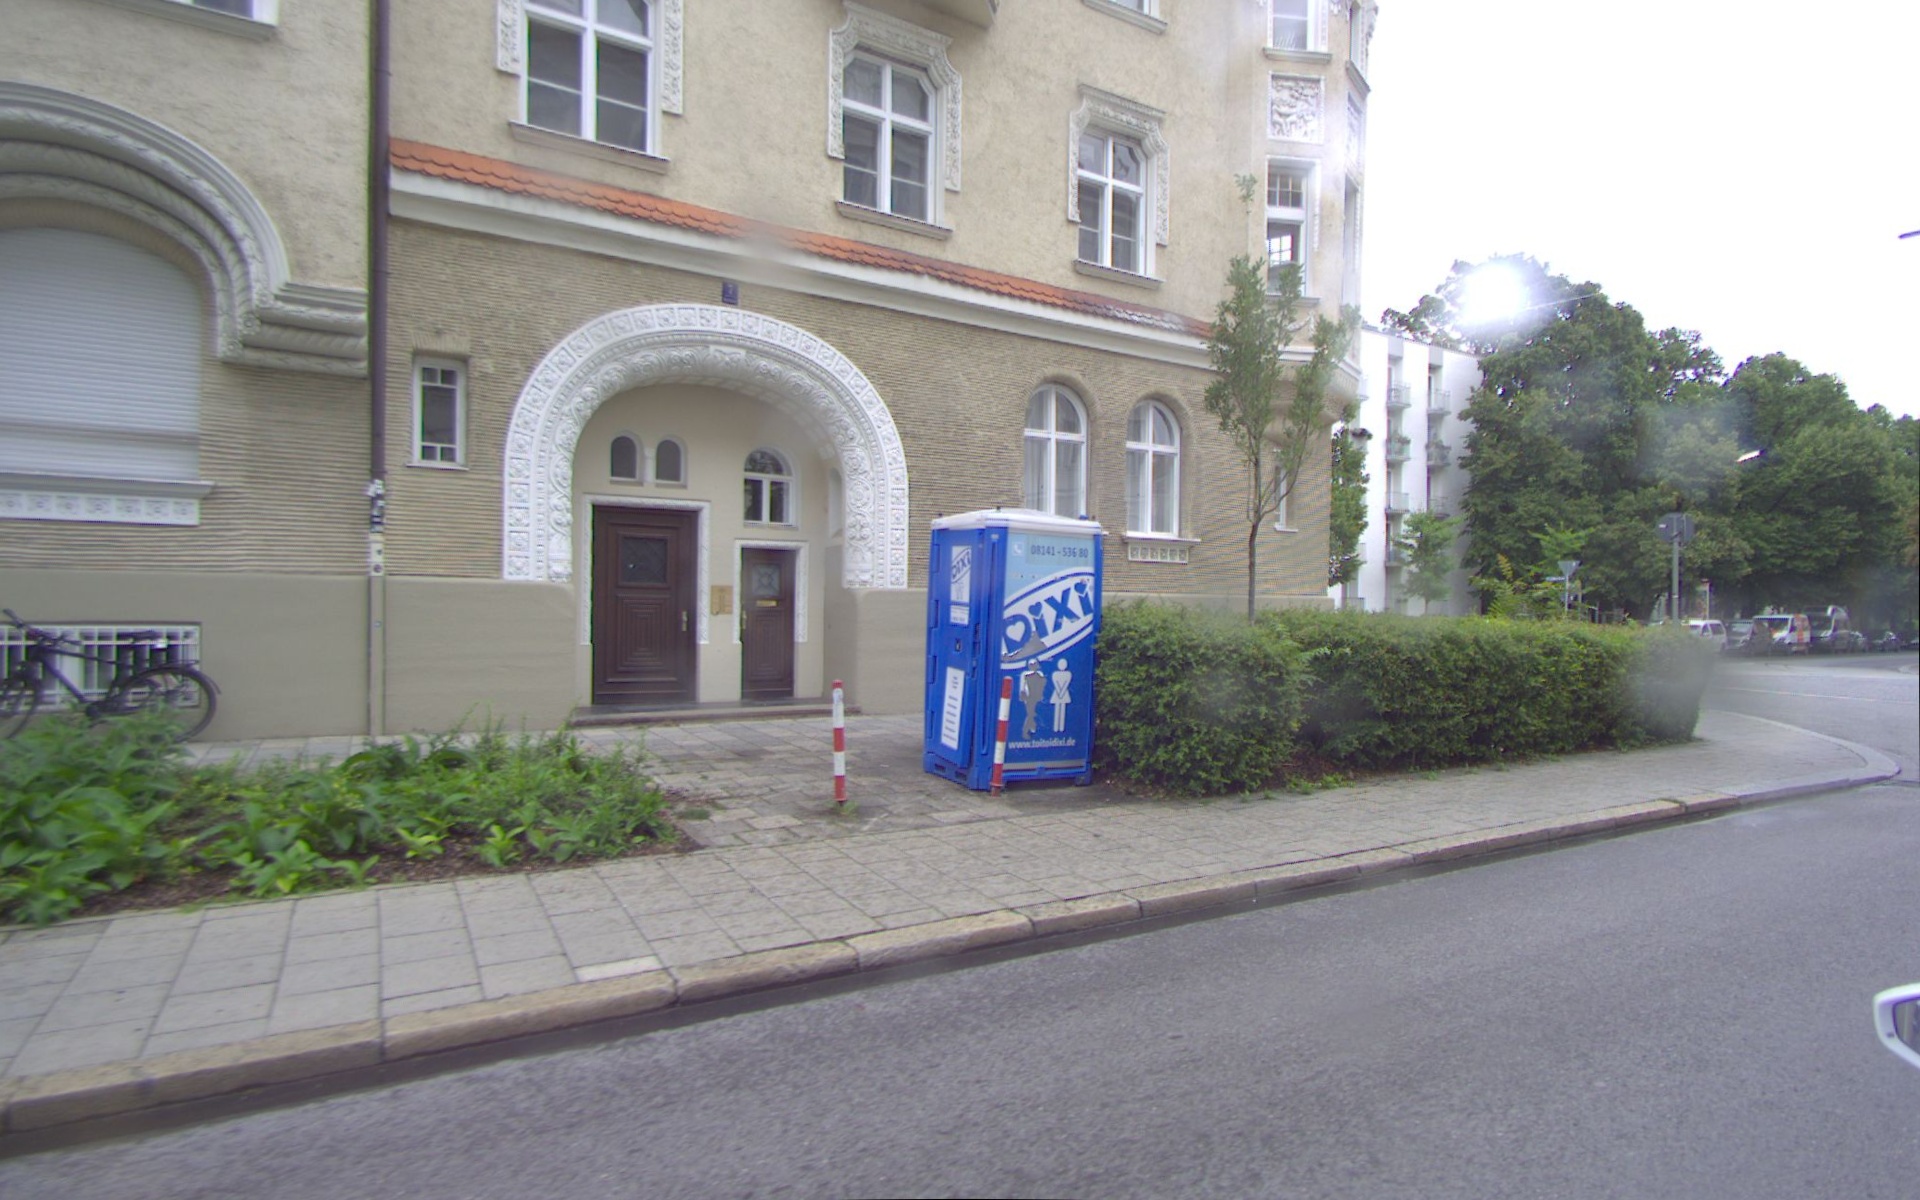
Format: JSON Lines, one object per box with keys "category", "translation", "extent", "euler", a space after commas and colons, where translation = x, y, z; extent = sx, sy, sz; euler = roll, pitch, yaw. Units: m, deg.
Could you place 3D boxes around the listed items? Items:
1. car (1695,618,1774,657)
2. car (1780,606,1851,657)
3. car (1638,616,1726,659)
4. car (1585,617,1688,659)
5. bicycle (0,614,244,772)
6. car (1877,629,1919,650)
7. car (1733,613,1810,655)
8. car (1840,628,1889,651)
{"category": "car", "translation": [40.363, 1.955, 52.325], "extent": [5.618, 1.933, 2.010], "euler": [2, -2, -39]}
{"category": "car", "translation": [52.862, 1.921, 62.044], "extent": [6.178, 3.042, 2.156], "euler": [1, -1, -38]}
{"category": "car", "translation": [34.592, 1.762, 48.088], "extent": [4.812, 1.929, 2.069], "euler": [1, -1, -36]}
{"category": "car", "translation": [30.340, 1.686, 45.004], "extent": [5.252, 1.742, 2.070], "euler": [1, -1, -35]}
{"category": "bicycle", "translation": [-7.381, 0.745, 8.506], "extent": [2.053, 1.222, 0.816], "euler": [1, 1, -31]}
{"category": "car", "translation": [72.268, 3.009, 77.335], "extent": [4.096, 1.506, 1.977], "euler": [1, -1, -40]}
{"category": "car", "translation": [45.842, 1.932, 56.717], "extent": [5.550, 2.294, 2.069], "euler": [1, -2, -37]}
{"category": "car", "translation": [62.071, 2.693, 68.891], "extent": [4.096, 1.439, 1.977], "euler": [1, -1, -40]}
